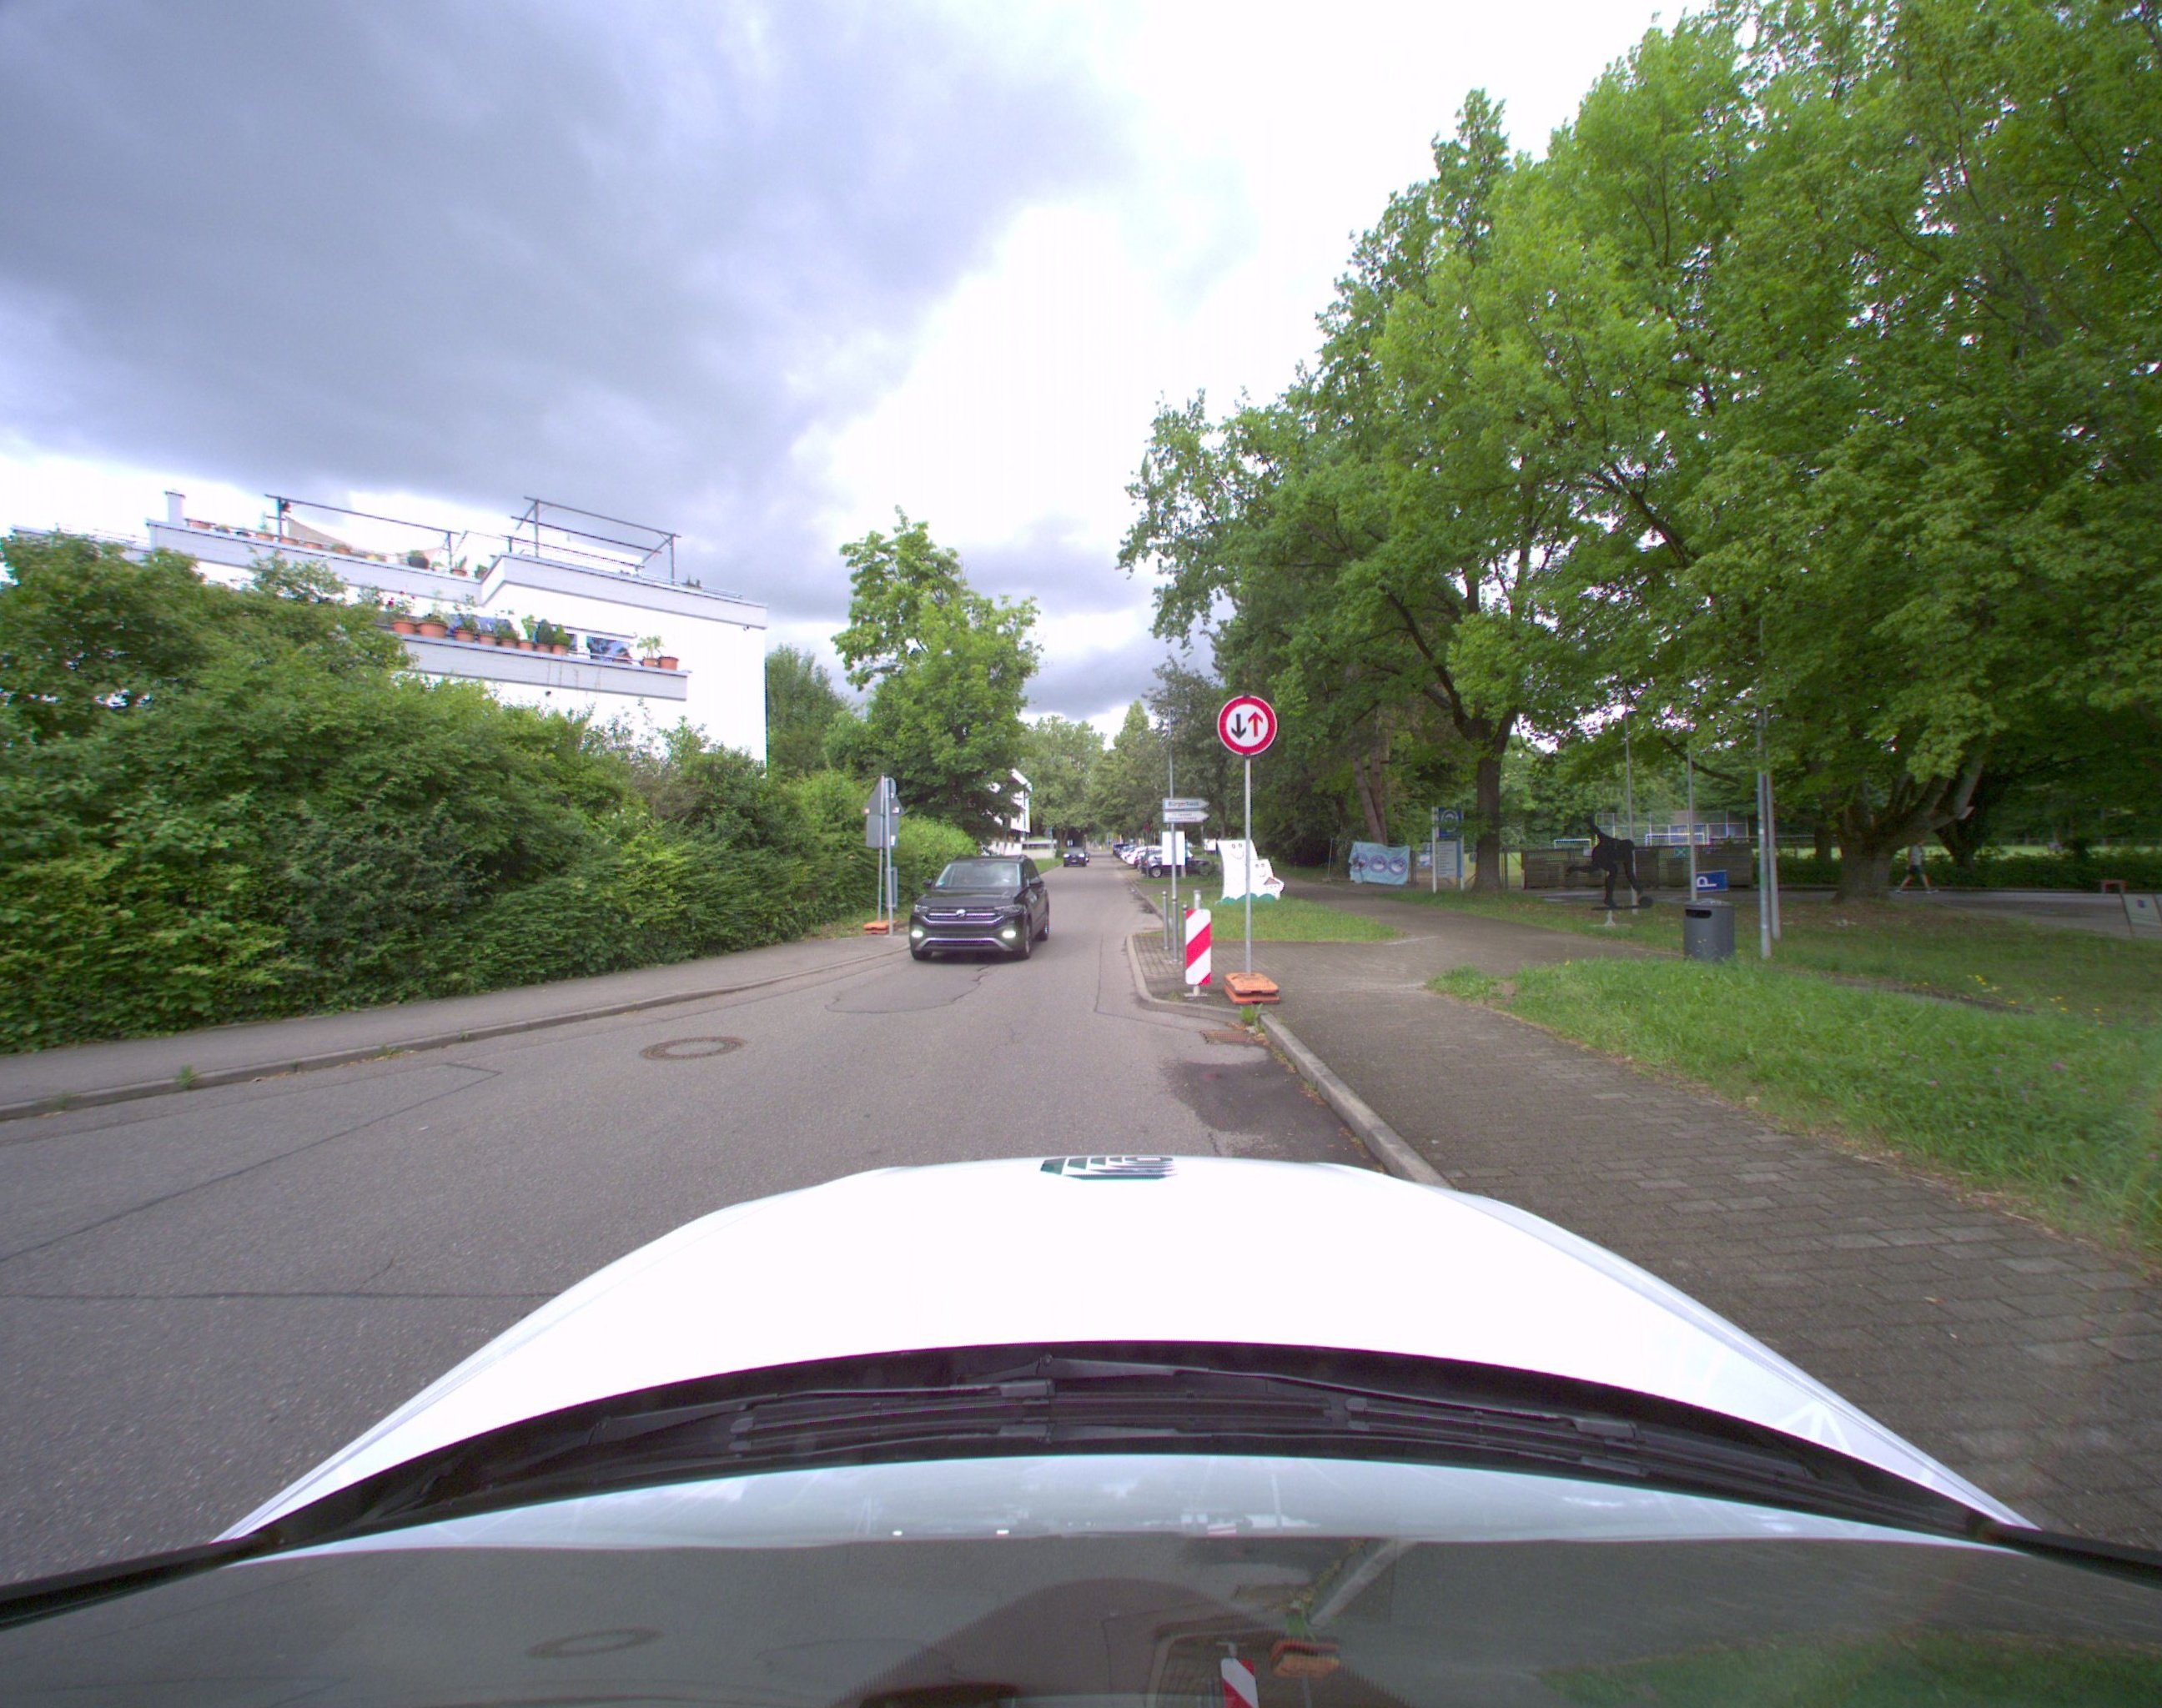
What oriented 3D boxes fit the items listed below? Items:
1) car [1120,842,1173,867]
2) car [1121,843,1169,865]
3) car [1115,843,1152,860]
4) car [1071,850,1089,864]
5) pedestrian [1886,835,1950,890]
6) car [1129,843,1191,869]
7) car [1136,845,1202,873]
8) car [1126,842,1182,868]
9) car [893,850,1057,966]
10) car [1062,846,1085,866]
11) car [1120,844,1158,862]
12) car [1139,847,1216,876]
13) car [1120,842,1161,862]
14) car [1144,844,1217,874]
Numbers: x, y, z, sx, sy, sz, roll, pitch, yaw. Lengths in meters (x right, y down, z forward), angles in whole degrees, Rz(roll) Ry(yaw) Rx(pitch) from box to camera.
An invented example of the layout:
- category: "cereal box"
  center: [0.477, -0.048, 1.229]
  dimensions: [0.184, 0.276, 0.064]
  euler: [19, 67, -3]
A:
- category: "car"
  center: [5.372, 0.003, 67.041]
  dimensions: [4.053, 1.687, 1.821]
  euler: [-5, 0, -2]
- category: "car"
  center: [5.789, -0.007, 73.685]
  dimensions: [4.053, 1.687, 1.821]
  euler: [-5, 0, -2]
- category: "car"
  center: [6.278, -0.310, 97.517]
  dimensions: [4.053, 1.687, 1.821]
  euler: [-5, 0, -2]
- category: "car"
  center: [-0.105, 0.327, 91.391]
  dimensions: [1.962, 1.575, 4.338]
  euler: [-1, 0, 1]
- category: "pedestrian"
  center: [26.647, 0.282, 25.938]
  dimensions: [1.137, 1.674, 0.798]
  euler: [-3, -2, 27]
- category: "car"
  center: [5.586, 0.147, 57.927]
  dimensions: [4.053, 1.488, 1.821]
  euler: [-5, 0, -2]
- category: "car"
  center: [5.696, 0.309, 53.098]
  dimensions: [4.049, 1.568, 1.823]
  euler: [-3, 0, 0]
- category: "car"
  center: [5.612, 0.082, 63.105]
  dimensions: [4.053, 1.687, 1.821]
  euler: [-5, 0, -2]
- category: "car"
  center: [-1.545, 0.753, 13.535]
  dimensions: [1.794, 1.591, 4.302]
  euler: [-1, 0, 5]
- category: "car"
  center: [-0.622, 0.203, 74.259]
  dimensions: [1.962, 1.747, 4.338]
  euler: [-1, 0, 1]
- category: "car"
  center: [6.534, -0.144, 92.643]
  dimensions: [4.053, 1.687, 1.821]
  euler: [-5, 0, -2]
- category: "car"
  center: [5.335, 0.431, 45.453]
  dimensions: [4.049, 1.434, 2.000]
  euler: [-3, -1, 0]
- category: "car"
  center: [6.279, -0.212, 86.707]
  dimensions: [4.053, 1.687, 1.821]
  euler: [-5, 0, -2]
- category: "car"
  center: [5.842, 0.319, 48.174]
  dimensions: [4.049, 1.568, 1.822]
  euler: [-3, -1, 0]
